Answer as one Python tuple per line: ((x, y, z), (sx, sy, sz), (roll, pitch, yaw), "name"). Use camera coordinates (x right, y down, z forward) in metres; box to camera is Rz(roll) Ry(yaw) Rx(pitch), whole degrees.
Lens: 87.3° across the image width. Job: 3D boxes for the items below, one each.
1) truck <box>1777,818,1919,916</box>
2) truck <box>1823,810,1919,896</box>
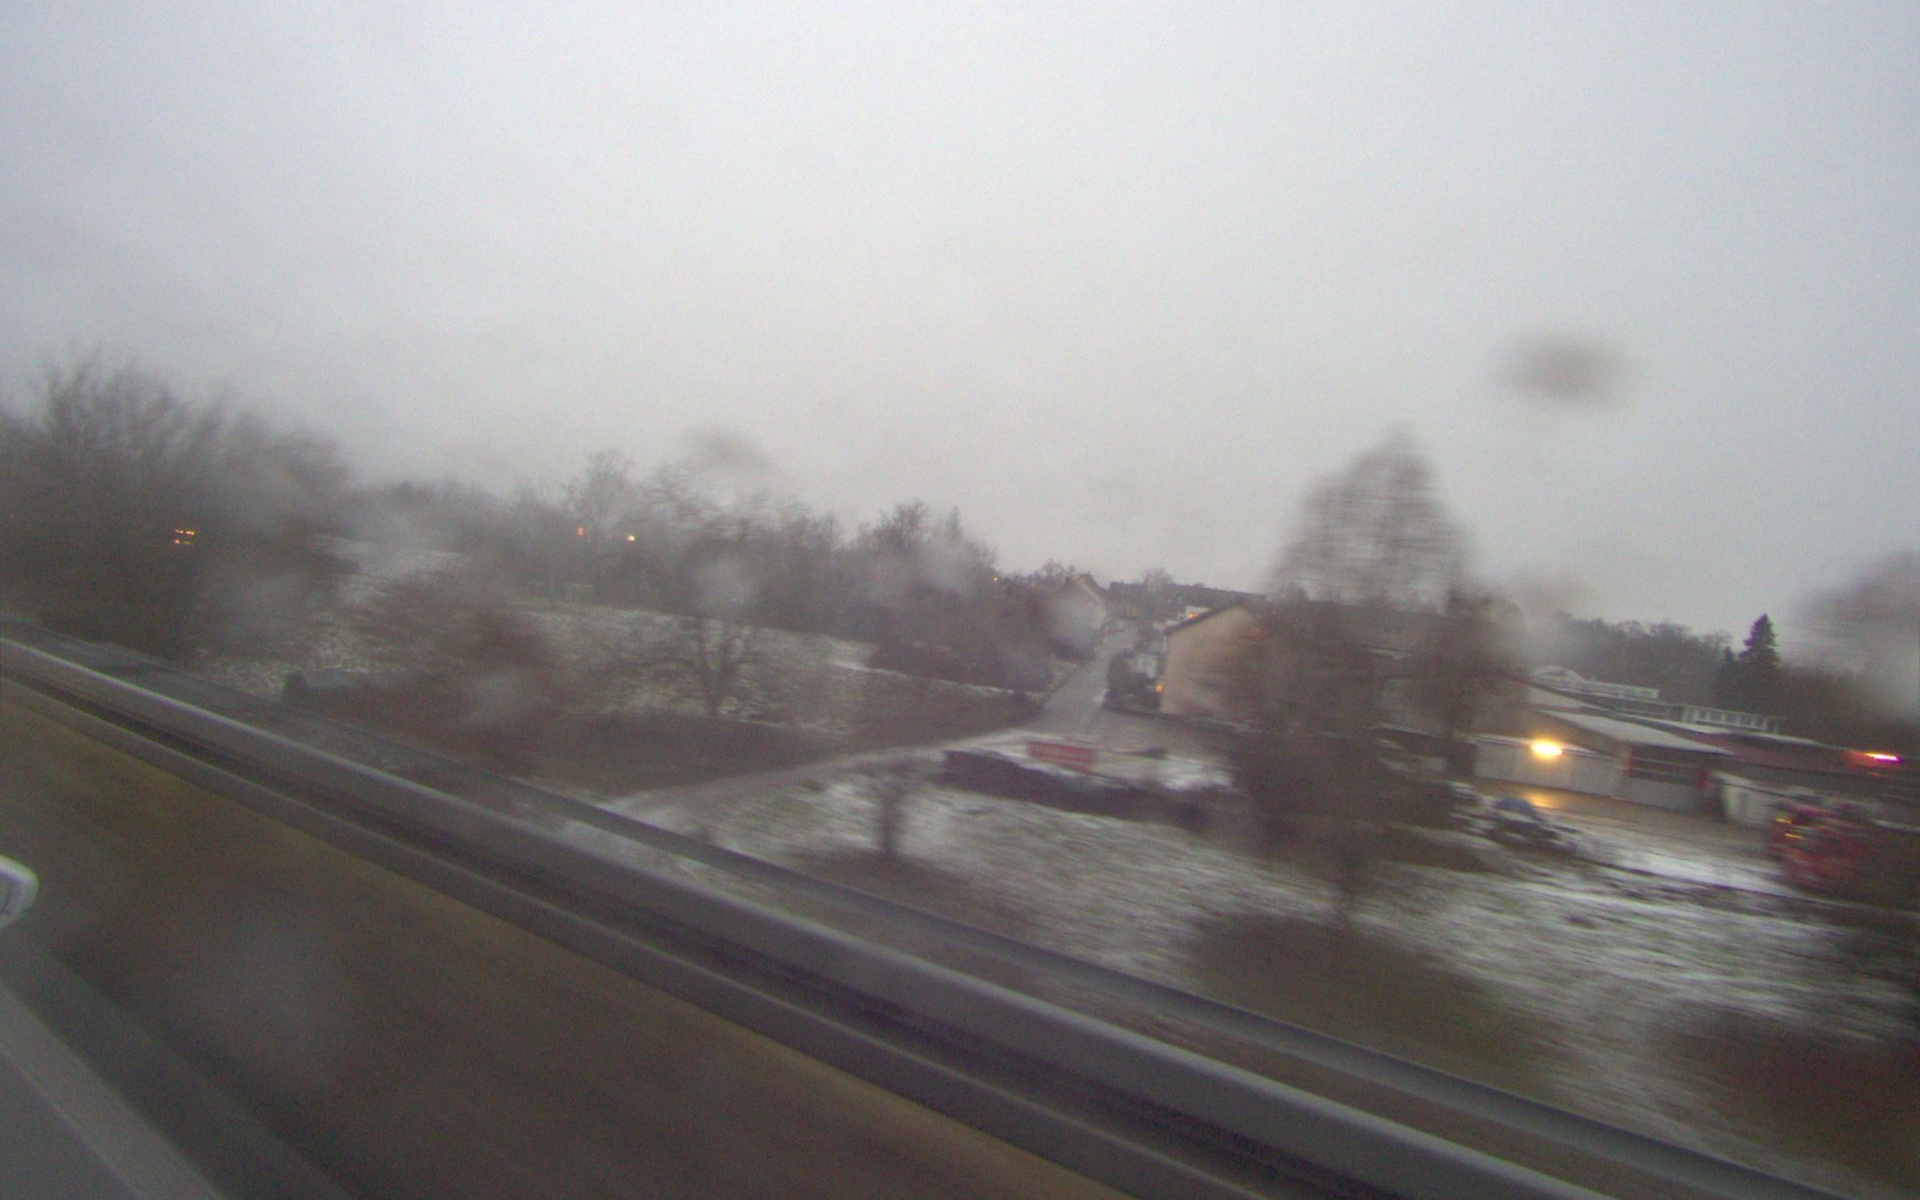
((44.568, 12.806, 46.482), (9.962, 3.271, 2.797), (7, -1, 18), "truck")
((48.683, 12.860, 48.637), (9.962, 3.271, 2.797), (7, -1, 18), "truck")
